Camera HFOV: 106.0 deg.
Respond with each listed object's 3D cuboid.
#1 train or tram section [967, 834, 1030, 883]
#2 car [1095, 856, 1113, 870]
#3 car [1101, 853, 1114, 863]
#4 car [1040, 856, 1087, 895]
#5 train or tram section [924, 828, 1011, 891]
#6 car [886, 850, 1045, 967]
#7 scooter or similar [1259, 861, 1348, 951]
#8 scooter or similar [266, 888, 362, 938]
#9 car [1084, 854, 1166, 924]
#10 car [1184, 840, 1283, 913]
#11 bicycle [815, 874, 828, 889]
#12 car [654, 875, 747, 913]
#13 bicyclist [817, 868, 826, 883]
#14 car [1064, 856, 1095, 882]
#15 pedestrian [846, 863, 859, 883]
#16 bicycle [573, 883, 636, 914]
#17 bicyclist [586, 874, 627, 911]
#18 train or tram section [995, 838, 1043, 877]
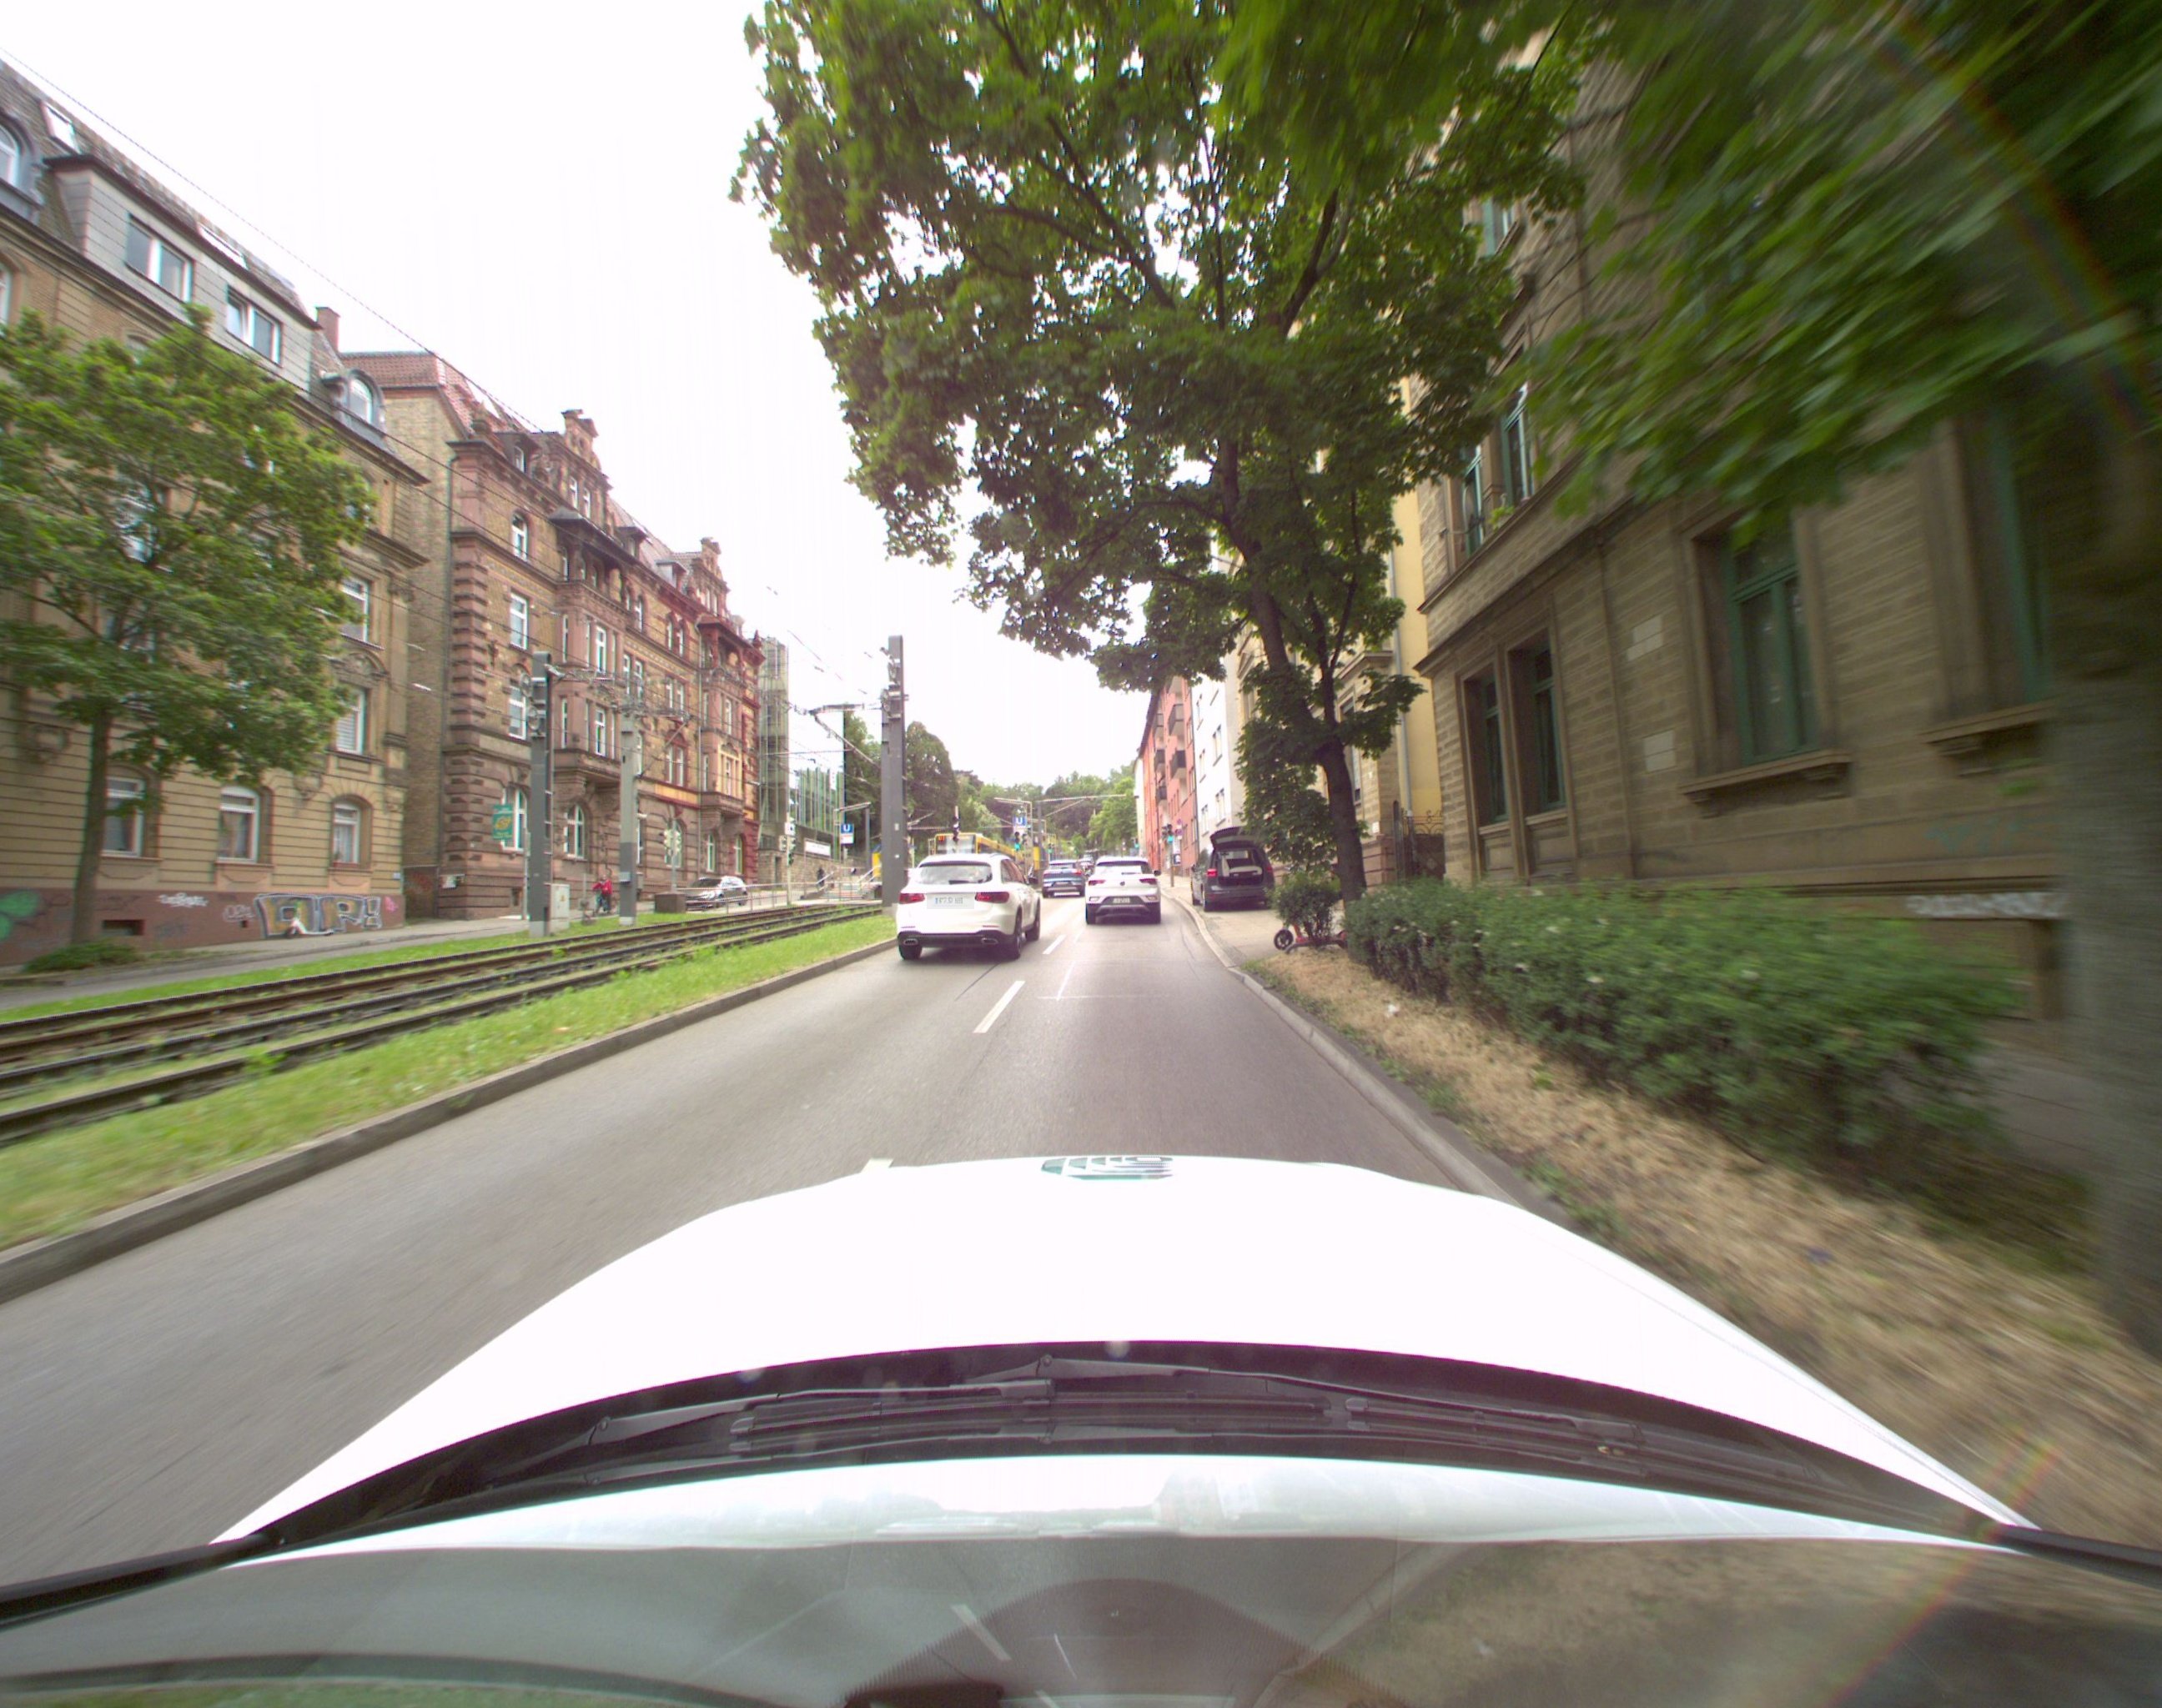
[{"bbox_3d":[-6.284,0.336,64.795,2.984,3.349,13.537,-2,0,2],"label":"train or tram section"},{"bbox_3d":[2.664,1.027,94.058,2.060,1.546,4.195,-1,0,1],"label":"car"},{"bbox_3d":[4.306,0.600,132.149,2.060,1.546,4.195,-1,0,1],"label":"car"},{"bbox_3d":[-0.692,0.892,35.026,1.829,1.546,4.195,-1,0,2],"label":"car"},{"bbox_3d":[-6.802,0.334,51.322,2.984,3.349,13.446,-2,0,2],"label":"train or tram section"},{"bbox_3d":[-1.783,0.797,14.122,1.828,1.667,4.674,-1,0,3],"label":"car"},{"bbox_3d":[2.917,0.682,10.736,1.031,1.119,0.332,-4,0,7],"label":"scooter or similar"},{"bbox_3d":[-21.986,1.660,23.410,0.627,1.255,2.214,-2,0,-1],"label":"scooter or similar"},{"bbox_3d":[1.011,0.790,20.481,1.829,1.546,4.193,-1,0,0],"label":"car"},{"bbox_3d":[3.873,0.540,21.357,1.829,1.601,4.195,-4,0,2],"label":"car"},{"bbox_3d":[-20.548,2.150,64.536,0.571,1.143,1.304,-2,0,2],"label":"bicycle"},{"bbox_3d":[-16.484,1.701,35.535,1.986,1.403,4.002,-2,0,2],"label":"car"},{"bbox_3d":[-20.564,1.687,64.547,0.516,1.191,0.656,-2,0,2],"label":"bicyclist"},{"bbox_3d":[-0.082,0.929,51.936,1.829,1.546,4.195,-1,0,2],"label":"car"},{"bbox_3d":[-20.452,1.716,72.973,0.806,1.755,0.817,-2,0,2],"label":"pedestrian"},{"bbox_3d":[-19.584,1.807,33.570,0.935,1.100,2.703,-2,0,1],"label":"bicycle"},{"bbox_3d":[-19.579,1.564,33.614,0.935,1.425,1.188,-2,0,1],"label":"bicyclist"},{"bbox_3d":[-5.770,0.344,78.301,2.984,3.349,13.446,-2,0,2],"label":"train or tram section"}]
